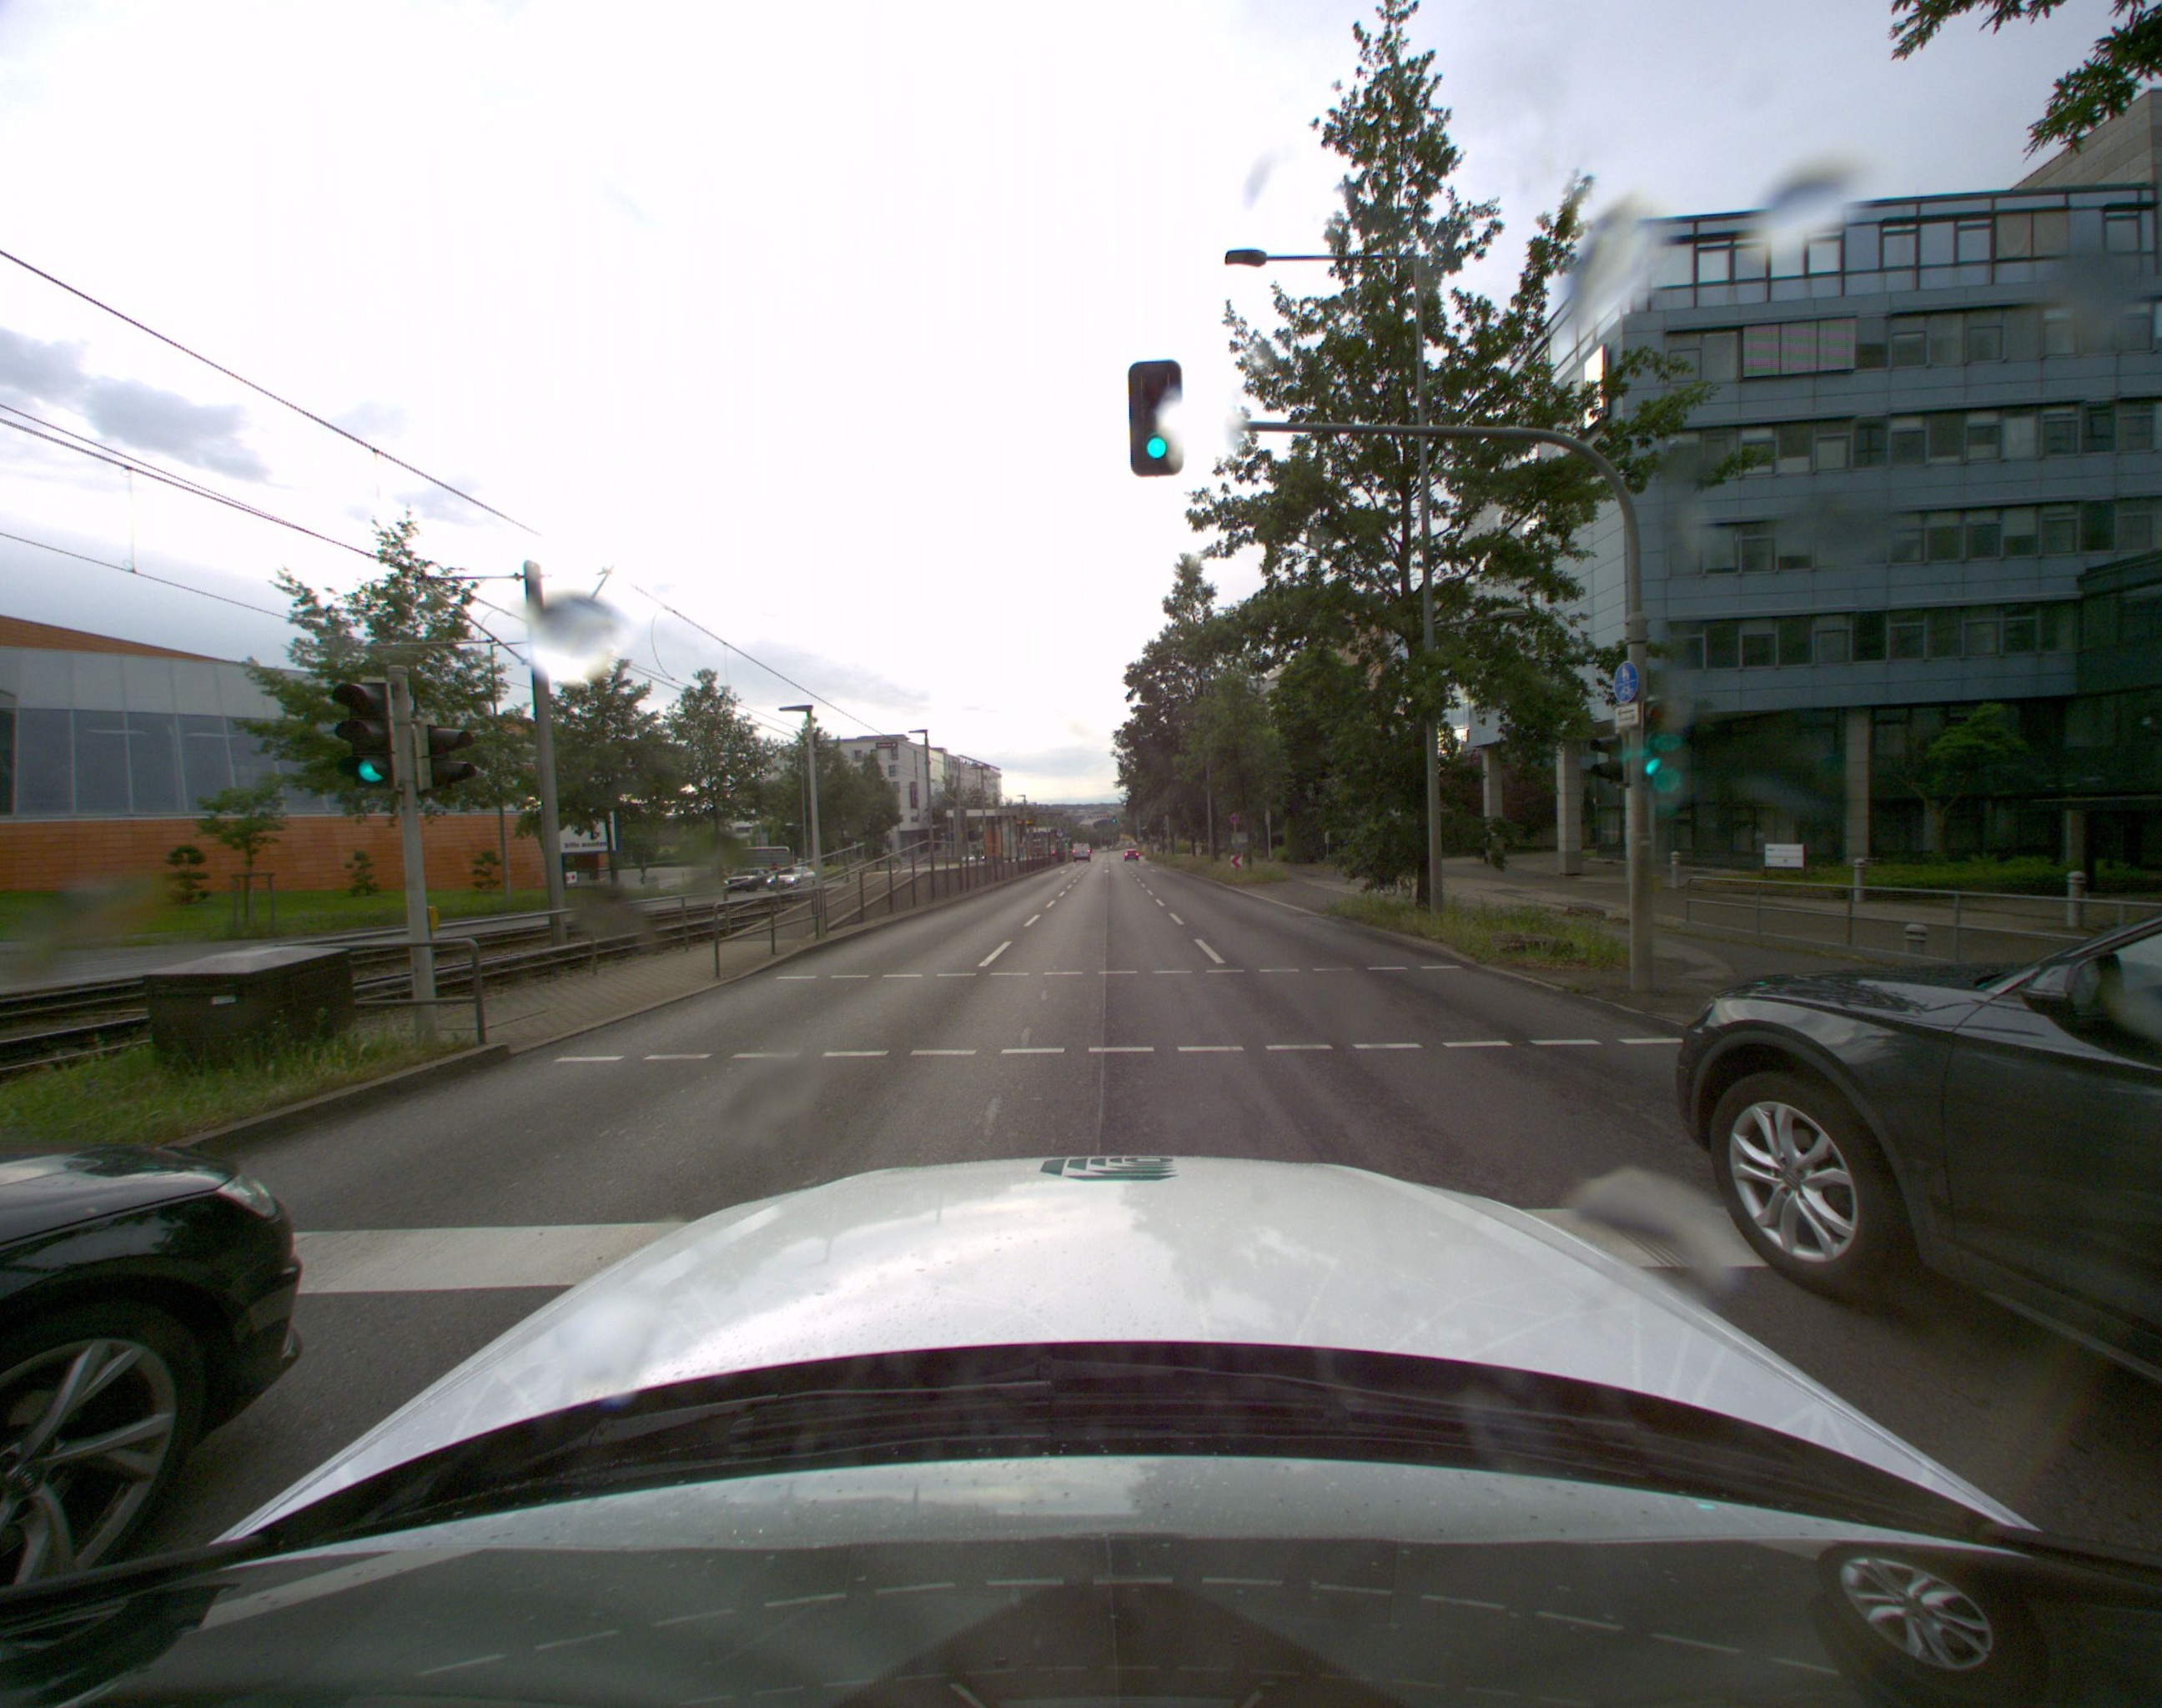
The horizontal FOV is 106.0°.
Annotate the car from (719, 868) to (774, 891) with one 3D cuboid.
[{"bbox_3d":[-20.725,1.559,50.637,1.644,1.237,3.970,-1,1,2],"label":"car"}]

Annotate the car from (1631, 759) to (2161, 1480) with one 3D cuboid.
[{"bbox_3d":[3.297,0.579,1.362,1.811,1.612,4.472,-1,0,2],"label":"car"}]

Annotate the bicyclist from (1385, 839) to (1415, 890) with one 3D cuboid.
[{"bbox_3d":[10.069,0.328,25.716,0.643,1.578,0.855,0,0,1],"label":"bicyclist"}]

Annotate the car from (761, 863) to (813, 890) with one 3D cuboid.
[{"bbox_3d":[-17.864,1.326,49.691,1.645,1.436,3.879,-4,0,0],"label":"car"}]

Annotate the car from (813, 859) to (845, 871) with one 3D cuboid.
[{"bbox_3d":[-29.812,1.288,96.276,3.341,1.387,1.440,-1,0,18],"label":"car"}]

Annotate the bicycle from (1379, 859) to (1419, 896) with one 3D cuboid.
[{"bbox_3d":[10.097,0.724,25.914,0.578,1.088,1.906,0,0,2],"label":"bicycle"}]

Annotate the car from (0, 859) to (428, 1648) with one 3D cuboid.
[{"bbox_3d":[-2.962,0.777,0.241,1.774,1.466,4.515,-1,0,2],"label":"car"}]

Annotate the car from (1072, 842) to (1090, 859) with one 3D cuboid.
[{"bbox_3d":[-0.009,-0.391,102.489,2.085,2.053,4.608,-1,0,2],"label":"car"}]

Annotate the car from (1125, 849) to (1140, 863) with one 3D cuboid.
[{"bbox_3d":[6.492,0.287,102.767,1.767,1.691,3.847,-1,0,2],"label":"car"}]

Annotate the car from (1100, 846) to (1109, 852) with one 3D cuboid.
[{"bbox_3d":[5.834,-1.259,203.863,1.773,1.390,4.010,-1,0,8],"label":"car"}]

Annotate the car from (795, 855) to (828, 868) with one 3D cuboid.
[{"bbox_3d":[-30.570,0.804,92.477,3.341,1.387,1.440,-1,0,18],"label":"car"}]
